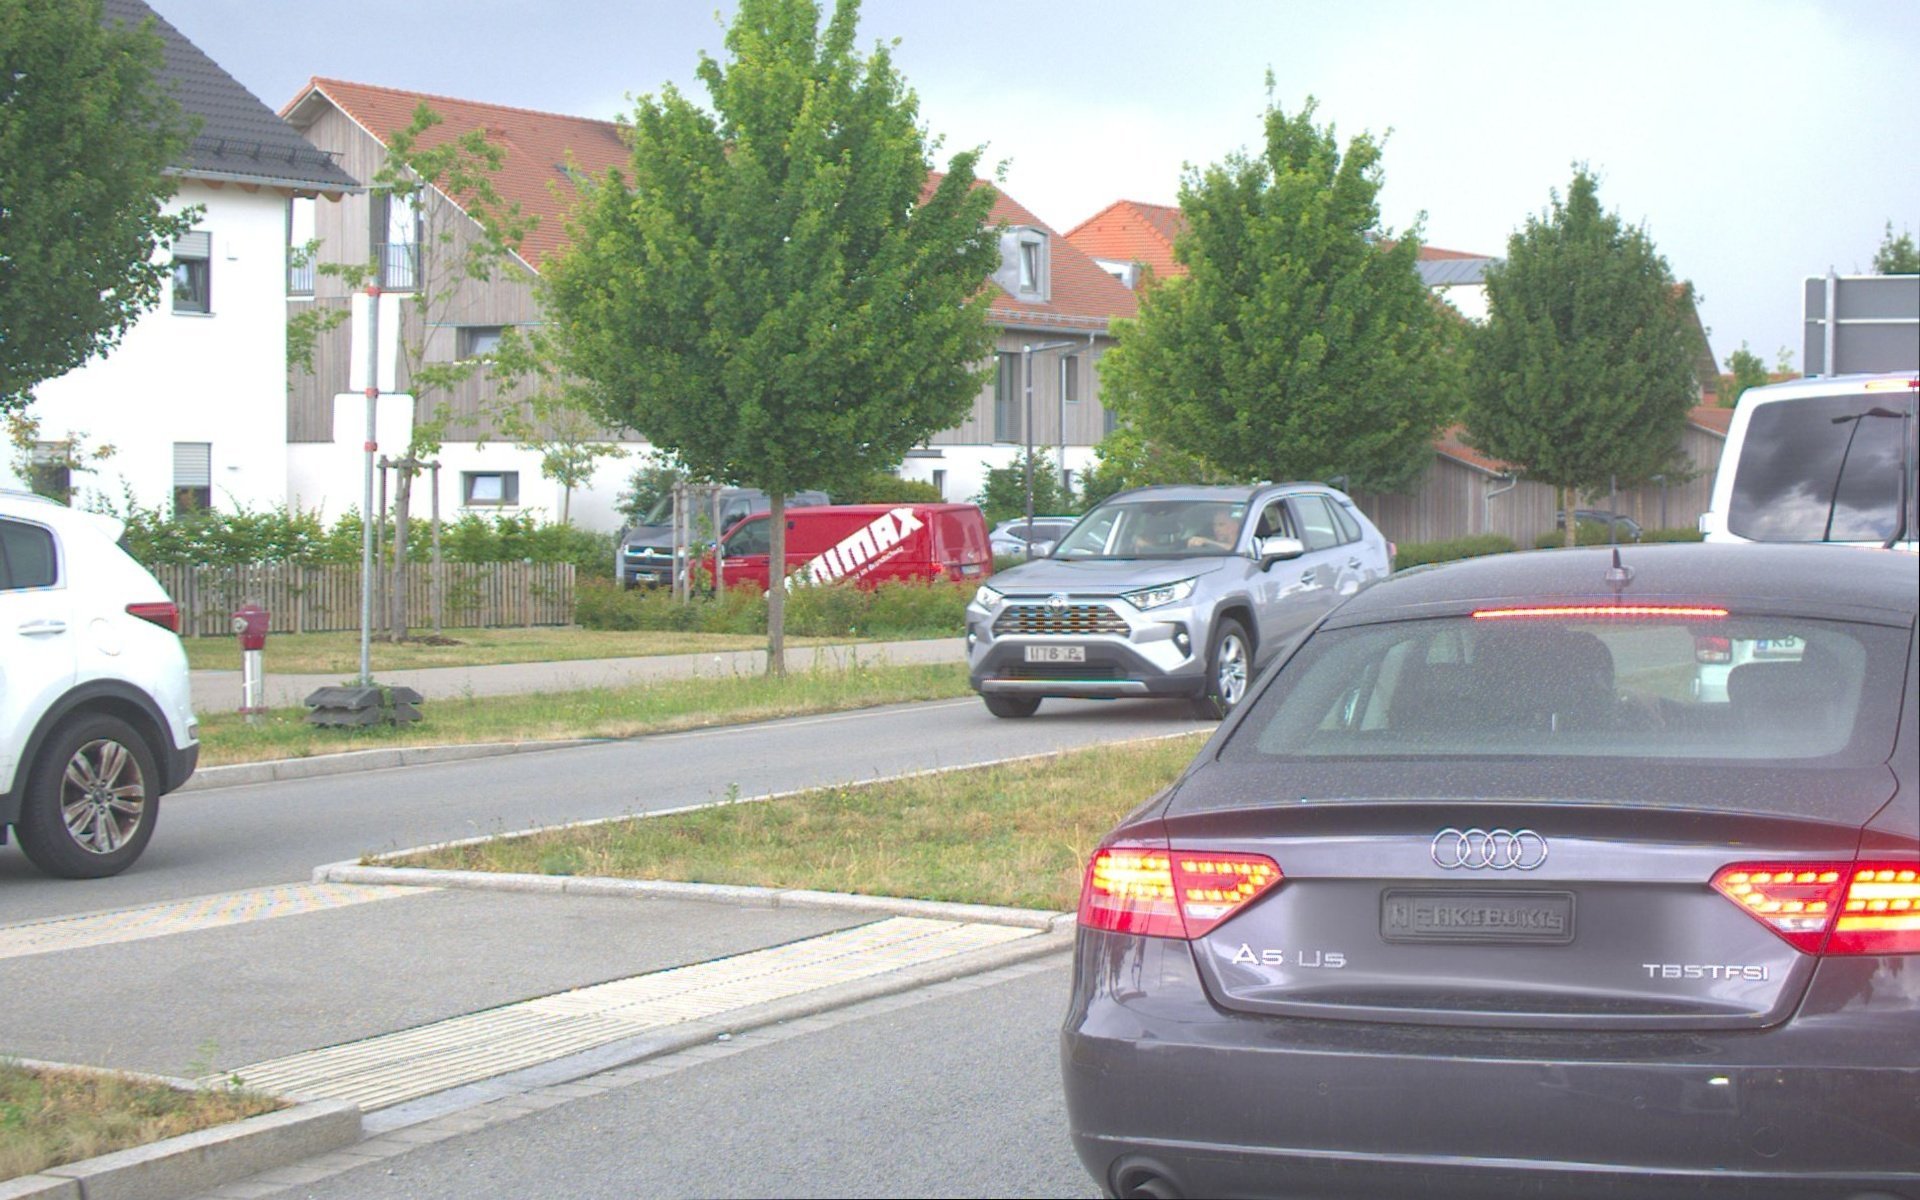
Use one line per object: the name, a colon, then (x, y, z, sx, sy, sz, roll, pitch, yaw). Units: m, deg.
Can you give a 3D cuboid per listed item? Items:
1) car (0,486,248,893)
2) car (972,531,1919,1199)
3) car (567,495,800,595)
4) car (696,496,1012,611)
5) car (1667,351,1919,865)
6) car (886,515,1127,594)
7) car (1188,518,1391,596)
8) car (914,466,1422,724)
car: (-4.989, 0.377, 13.437, 1.711, 1.620, 4.443, 0, 1, 32)
car: (1.638, 0.582, 7.233, 1.786, 1.386, 4.128, 1, 2, 23)
car: (-5.061, -1.046, 63.501, 1.997, 1.765, 4.457, 1, 2, 33)
car: (-1.665, -0.752, 53.431, 4.538, 1.674, 1.997, 2, 2, 31)
car: (4.417, -0.025, 14.715, 1.870, 1.927, 3.995, 1, 2, 24)
car: (0.834, -0.836, 61.703, 3.920, 1.310, 1.840, 1, 2, 26)
car: (6.652, -0.884, 69.463, 3.734, 1.477, 1.684, 1, 2, 25)
car: (1.643, -0.084, 25.161, 1.996, 1.698, 4.628, -1, 1, 27)
